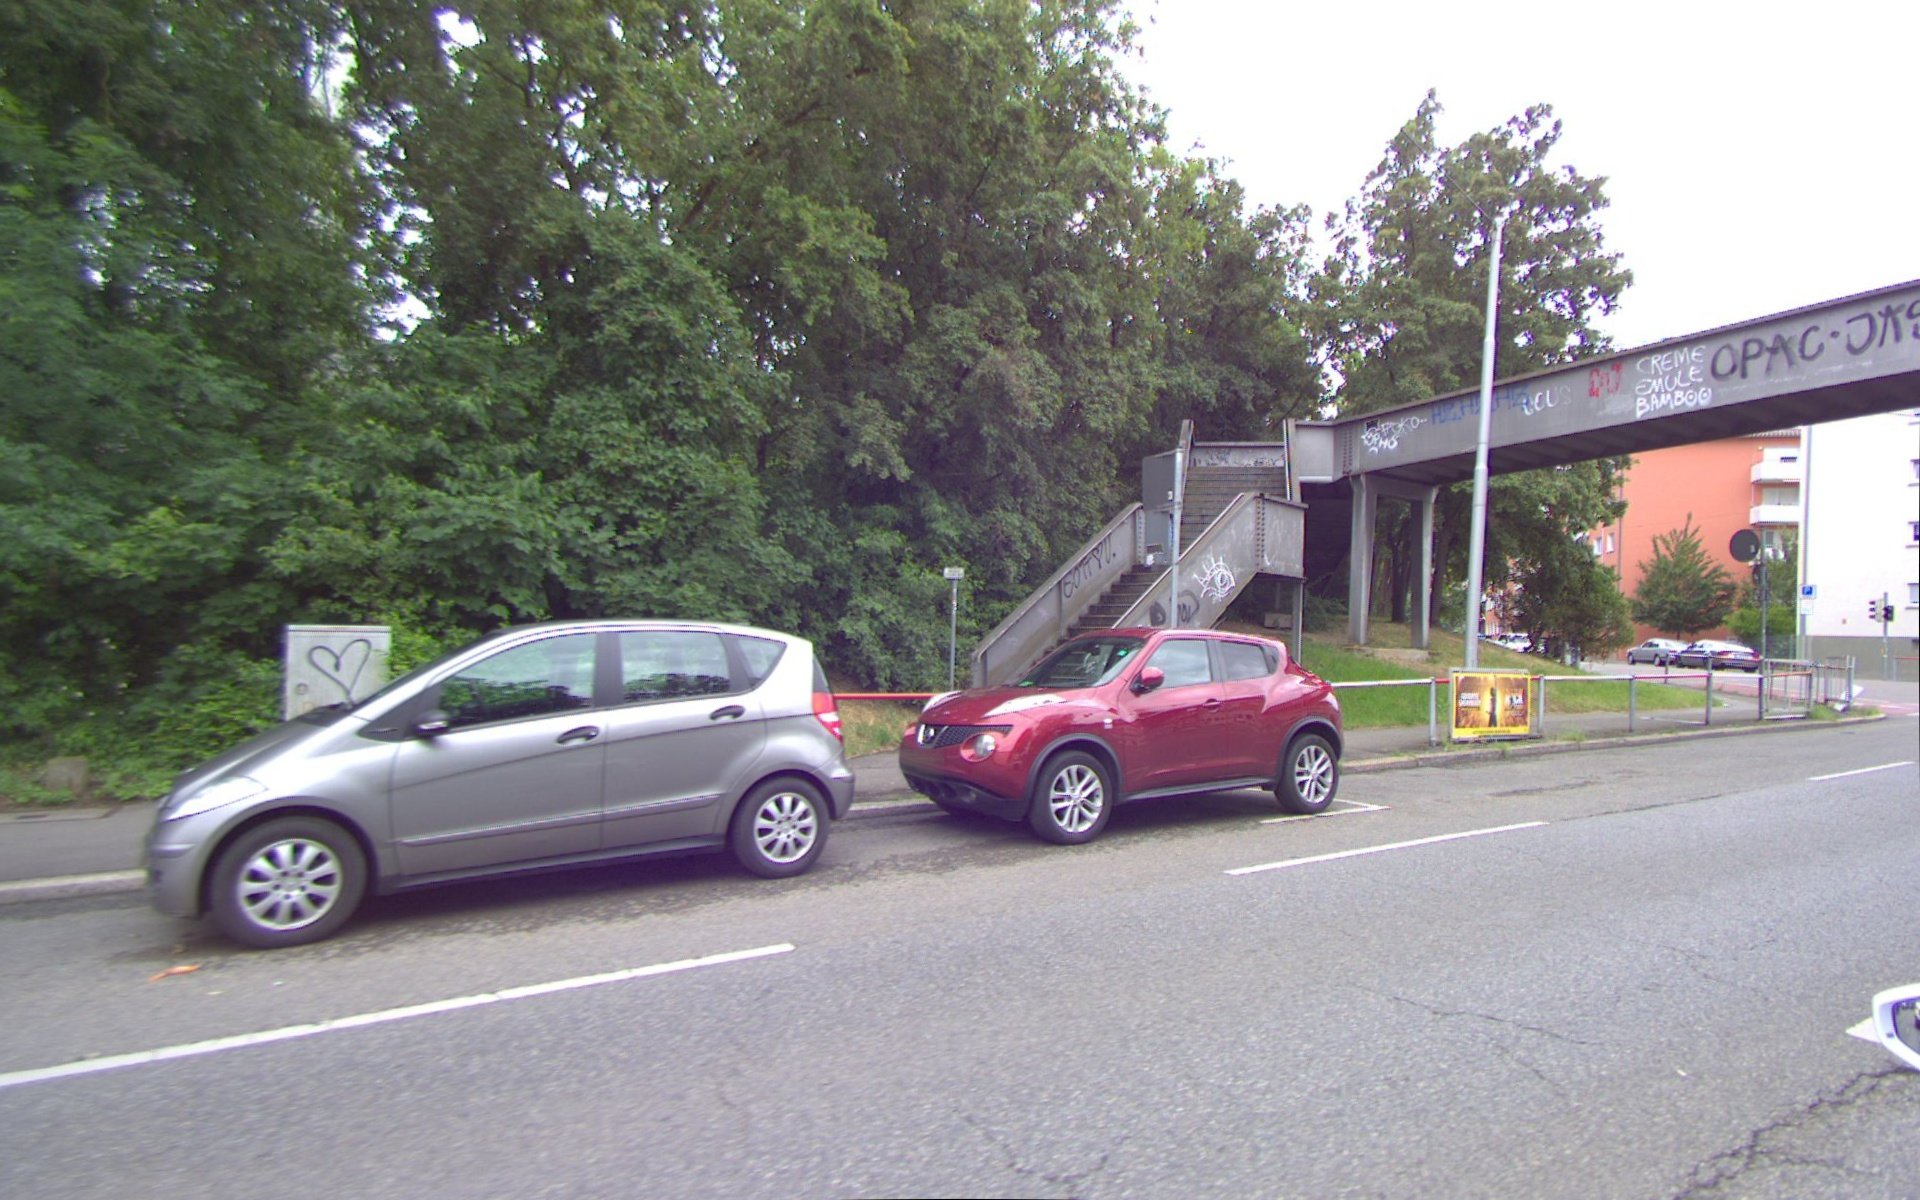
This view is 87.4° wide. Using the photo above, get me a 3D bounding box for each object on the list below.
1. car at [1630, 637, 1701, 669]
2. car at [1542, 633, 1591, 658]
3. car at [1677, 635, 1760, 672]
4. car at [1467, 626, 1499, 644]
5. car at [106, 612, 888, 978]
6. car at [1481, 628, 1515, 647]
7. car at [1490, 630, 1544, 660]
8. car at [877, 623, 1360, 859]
[{"bbox_3d":[35.854,2.667,51.166,1.771,1.530,4.002,0,-1,16],"label":"car"},{"bbox_3d":[40.032,2.974,66.399,1.771,1.530,4.002,0,-1,16],"label":"car"},{"bbox_3d":[34.828,2.423,46.244,1.771,1.530,4.002,0,-1,16],"label":"car"},{"bbox_3d":[47.065,3.115,90.463,1.771,1.530,4.002,0,-1,16],"label":"car"},{"bbox_3d":[-2.541,0.919,6.171,3.866,1.589,1.736,1,-3,-33],"label":"car"},{"bbox_3d":[45.213,3.096,84.516,1.771,1.530,4.002,0,-1,16],"label":"car"},{"bbox_3d":[30.883,2.474,55.817,1.771,1.530,4.002,0,-1,16],"label":"car"},{"bbox_3d":[1.404,1.005,8.370,3.936,1.560,1.526,1,-3,-31],"label":"car"}]
